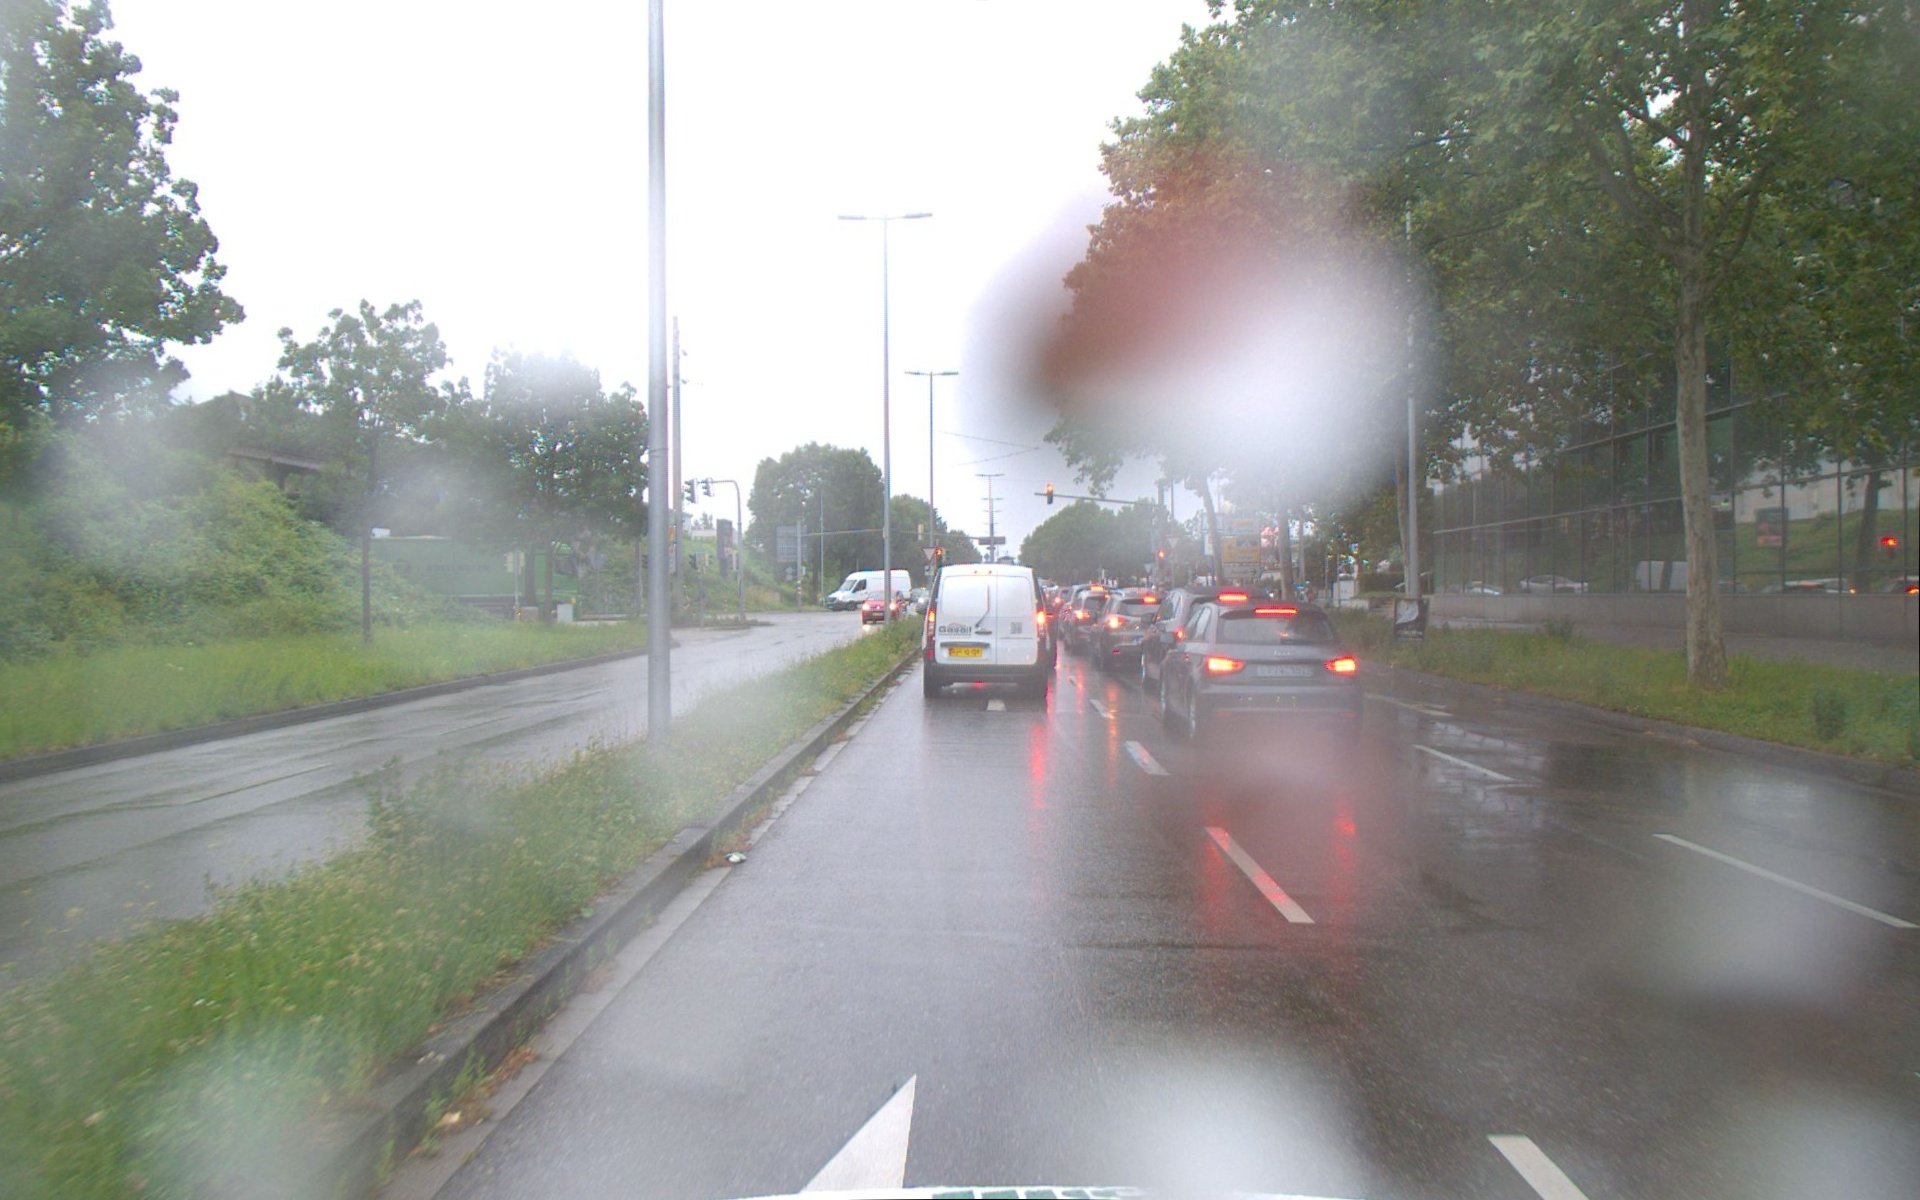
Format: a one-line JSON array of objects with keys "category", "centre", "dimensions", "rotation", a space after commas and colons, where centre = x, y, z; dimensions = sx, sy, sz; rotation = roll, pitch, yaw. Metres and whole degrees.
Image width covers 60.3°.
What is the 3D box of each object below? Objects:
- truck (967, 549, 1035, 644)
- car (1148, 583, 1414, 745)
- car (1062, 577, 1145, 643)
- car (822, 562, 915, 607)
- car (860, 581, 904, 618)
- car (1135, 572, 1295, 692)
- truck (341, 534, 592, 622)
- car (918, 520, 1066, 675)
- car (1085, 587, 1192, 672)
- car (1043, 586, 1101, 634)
[{"category": "truck", "centre": [1.091, -0.099, 45.574], "dimensions": [1.721, 2.509, 4.000], "rotation": [0, 0, -1]}, {"category": "car", "centre": [3.198, 0.583, 17.296], "dimensions": [1.953, 1.477, 3.999], "rotation": [1, 0, -1]}, {"category": "car", "centre": [3.344, 0.202, 39.100], "dimensions": [1.676, 1.470, 4.001], "rotation": [0, 1, 1]}, {"category": "car", "centre": [-5.932, -0.995, 107.605], "dimensions": [5.952, 2.792, 1.975], "rotation": [1, -1, -36]}, {"category": "car", "centre": [-3.496, -0.022, 74.606], "dimensions": [1.680, 1.540, 3.615], "rotation": [-2, 1, 2]}, {"category": "car", "centre": [3.621, 0.396, 24.113], "dimensions": [1.673, 1.577, 4.000], "rotation": [0, 1, -1]}, {"category": "truck", "centre": [-21.002, -0.833, 70.887], "dimensions": [10.028, 3.512, 2.624], "rotation": [1, -1, -36]}, {"category": "car", "centre": [0.413, 0.004, 23.920], "dimensions": [1.953, 2.049, 3.999], "rotation": [0, -1, -1]}, {"category": "car", "centre": [3.347, 0.511, 31.532], "dimensions": [1.676, 1.470, 4.001], "rotation": [0, 1, 1]}, {"category": "car", "centre": [3.626, 0.287, 54.003], "dimensions": [1.676, 1.470, 4.001], "rotation": [0, 1, 1]}]
